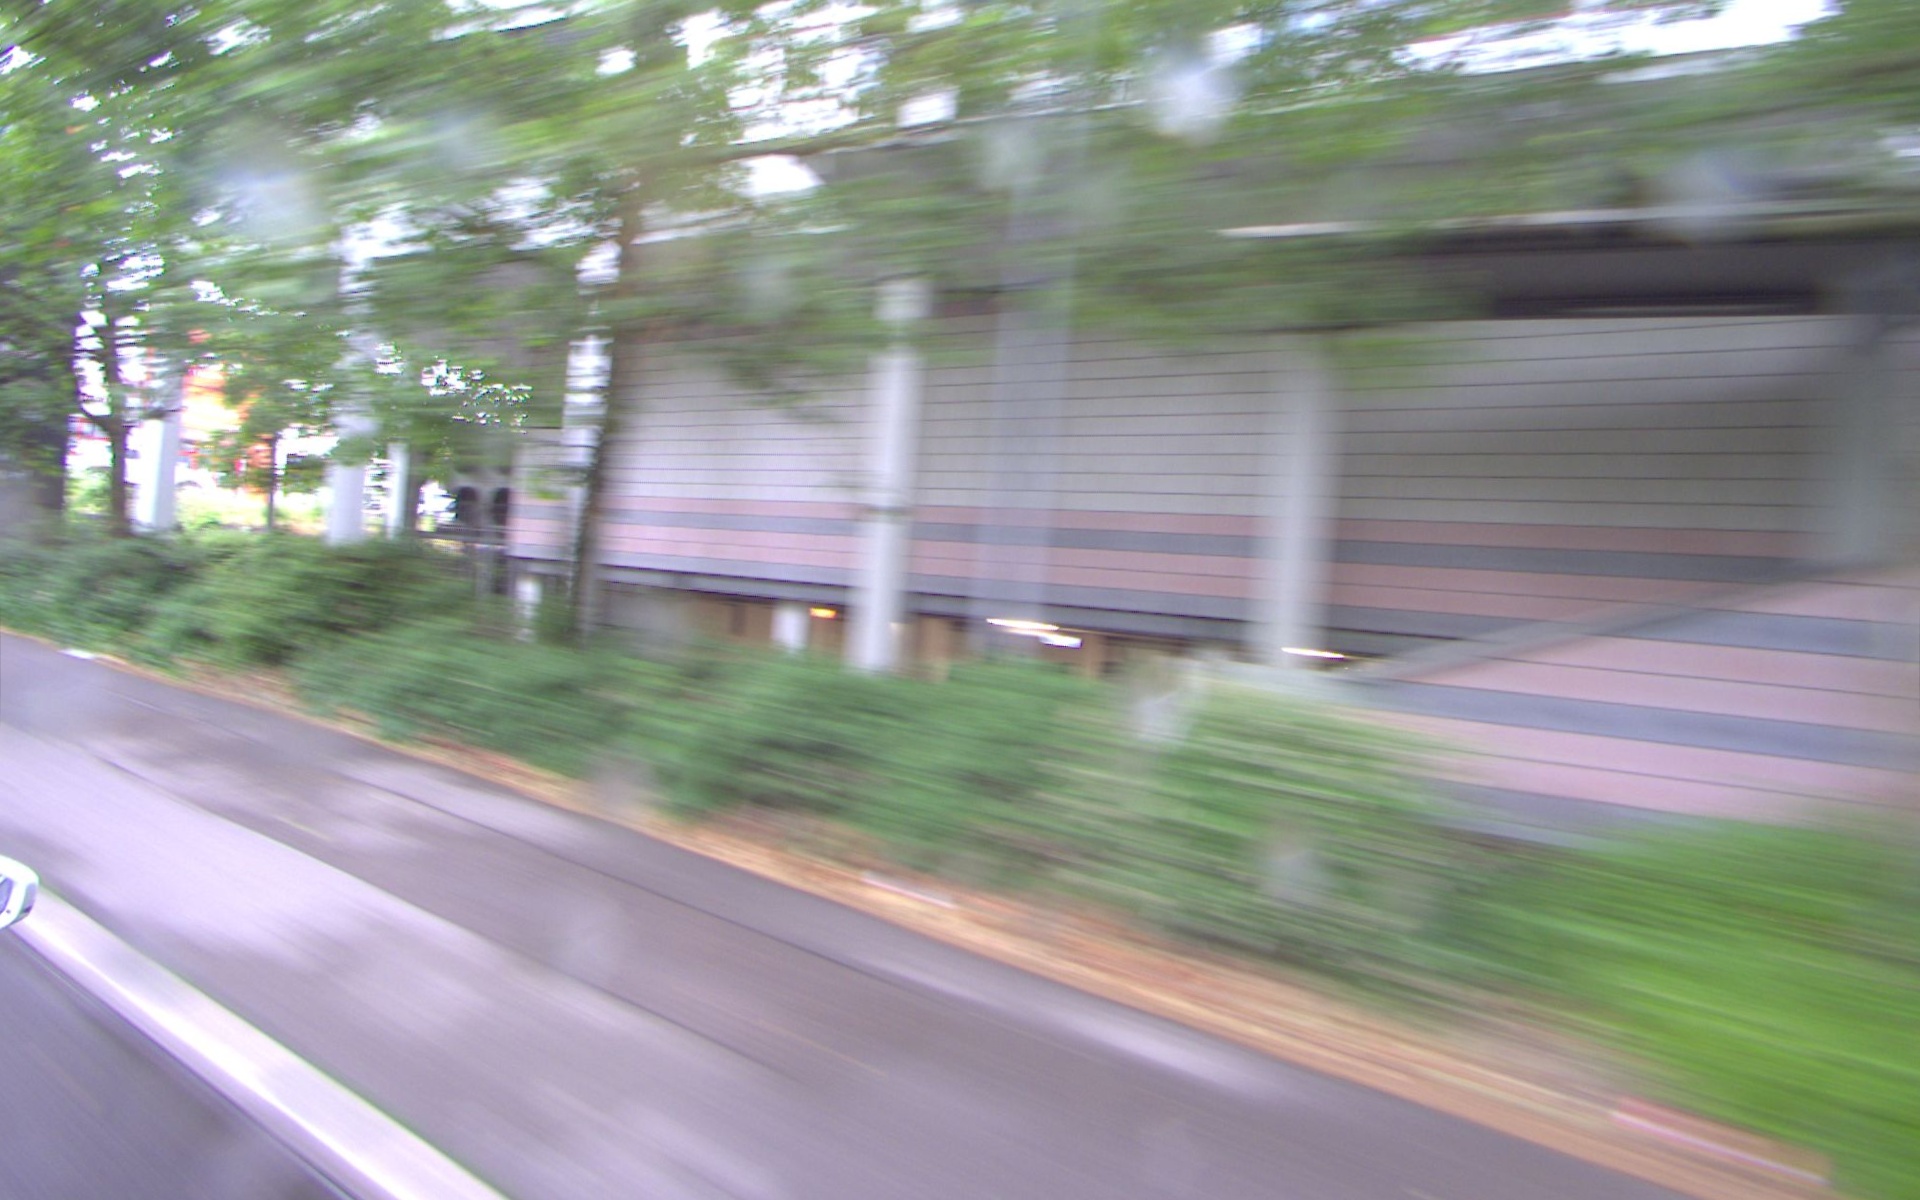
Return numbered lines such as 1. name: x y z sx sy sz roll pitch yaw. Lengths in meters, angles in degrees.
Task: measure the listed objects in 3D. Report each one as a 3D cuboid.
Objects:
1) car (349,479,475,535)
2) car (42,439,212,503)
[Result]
1. car: -25.342 -4.270 46.737 1.882 1.805 4.778 7 0 28
2. car: -28.873 -4.453 35.011 1.872 1.392 4.106 7 -2 32
